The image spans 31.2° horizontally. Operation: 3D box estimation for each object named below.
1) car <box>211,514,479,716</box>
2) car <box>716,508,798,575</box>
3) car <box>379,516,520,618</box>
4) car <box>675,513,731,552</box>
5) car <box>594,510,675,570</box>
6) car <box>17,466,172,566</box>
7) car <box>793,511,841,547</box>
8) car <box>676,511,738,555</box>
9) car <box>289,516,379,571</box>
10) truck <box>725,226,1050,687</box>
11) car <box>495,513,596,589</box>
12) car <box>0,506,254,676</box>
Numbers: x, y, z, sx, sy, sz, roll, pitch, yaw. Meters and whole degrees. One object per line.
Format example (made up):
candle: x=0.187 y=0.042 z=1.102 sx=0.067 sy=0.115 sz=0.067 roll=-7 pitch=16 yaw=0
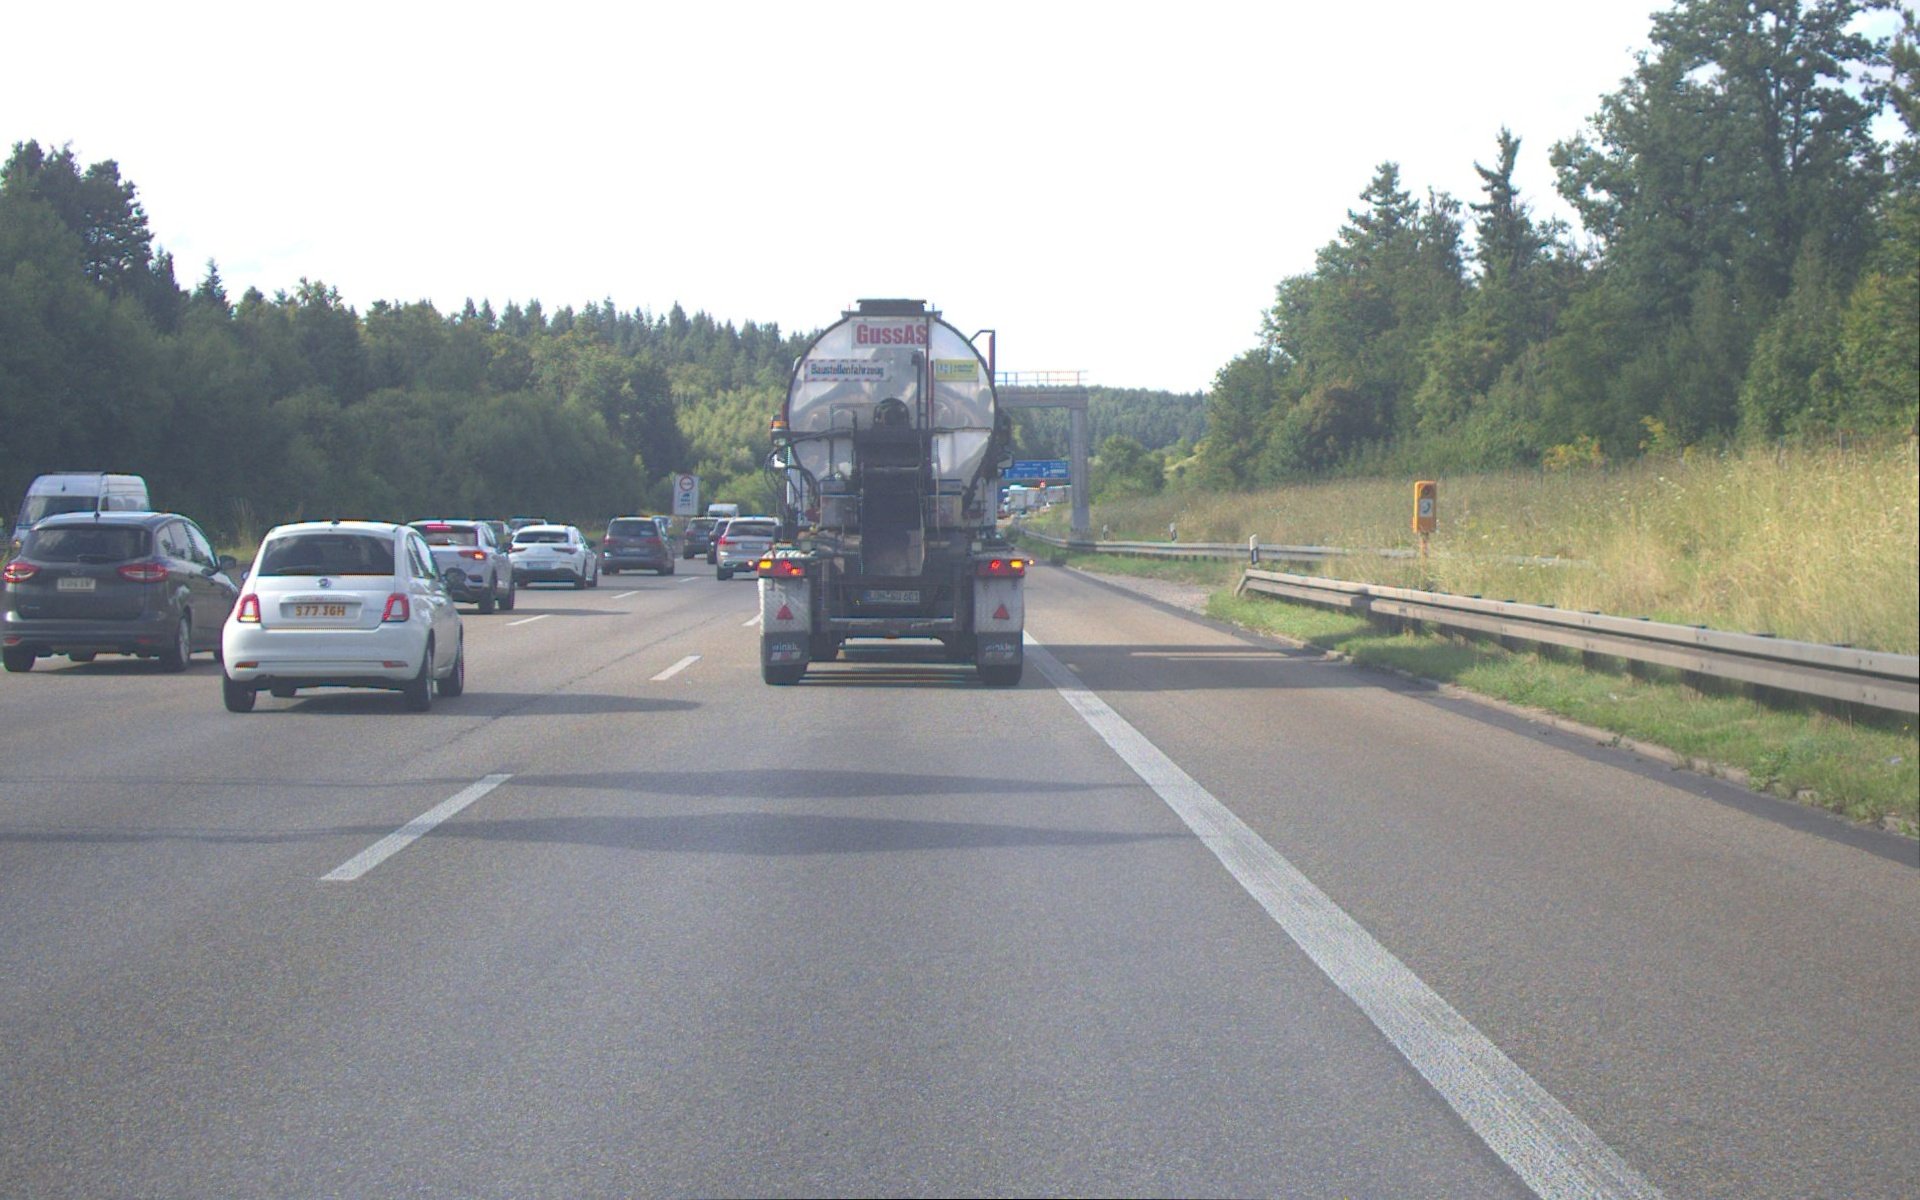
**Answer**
car: x=-4.979 y=0.084 z=28.238 sx=1.618 sy=1.539 sz=3.520 roll=1 pitch=1 yaw=-1
car: x=-5.269 y=-1.556 z=89.744 sx=1.942 sy=1.649 sz=4.207 roll=1 pitch=2 yaw=-1
car: x=-8.516 y=-0.581 z=57.639 sx=1.806 sy=1.580 sz=4.207 roll=1 pitch=2 yaw=-1
car: x=-10.119 y=-2.676 z=135.440 sx=1.942 sy=1.451 sz=4.207 roll=1 pitch=2 yaw=-1
car: x=-9.088 y=-1.691 z=96.294 sx=1.942 sy=1.580 sz=4.207 roll=1 pitch=2 yaw=-1
car: x=-20.685 y=-2.012 z=82.458 sx=2.109 sy=2.304 sz=6.725 roll=0 pitch=1 yaw=-1
car: x=-6.171 y=-3.085 z=148.740 sx=1.942 sy=1.451 sz=4.207 roll=1 pitch=2 yaw=-1
car: x=-8.937 y=-2.391 z=121.506 sx=1.942 sy=1.451 sz=4.207 roll=1 pitch=2 yaw=-1
car: x=-24.998 y=-2.274 z=137.512 sx=2.579 sy=2.131 sz=5.966 roll=0 pitch=1 yaw=-1
truck: x=-0.688 y=-1.430 z=36.664 sx=2.912 sy=4.143 sz=11.270 roll=0 pitch=1 yaw=0
car: x=-9.267 y=-1.124 z=77.123 sx=1.806 sy=1.580 sz=4.207 roll=1 pitch=2 yaw=-1
car: x=-8.538 y=-0.144 z=35.241 sx=1.806 sy=1.580 sz=4.207 roll=1 pitch=2 yaw=-1
